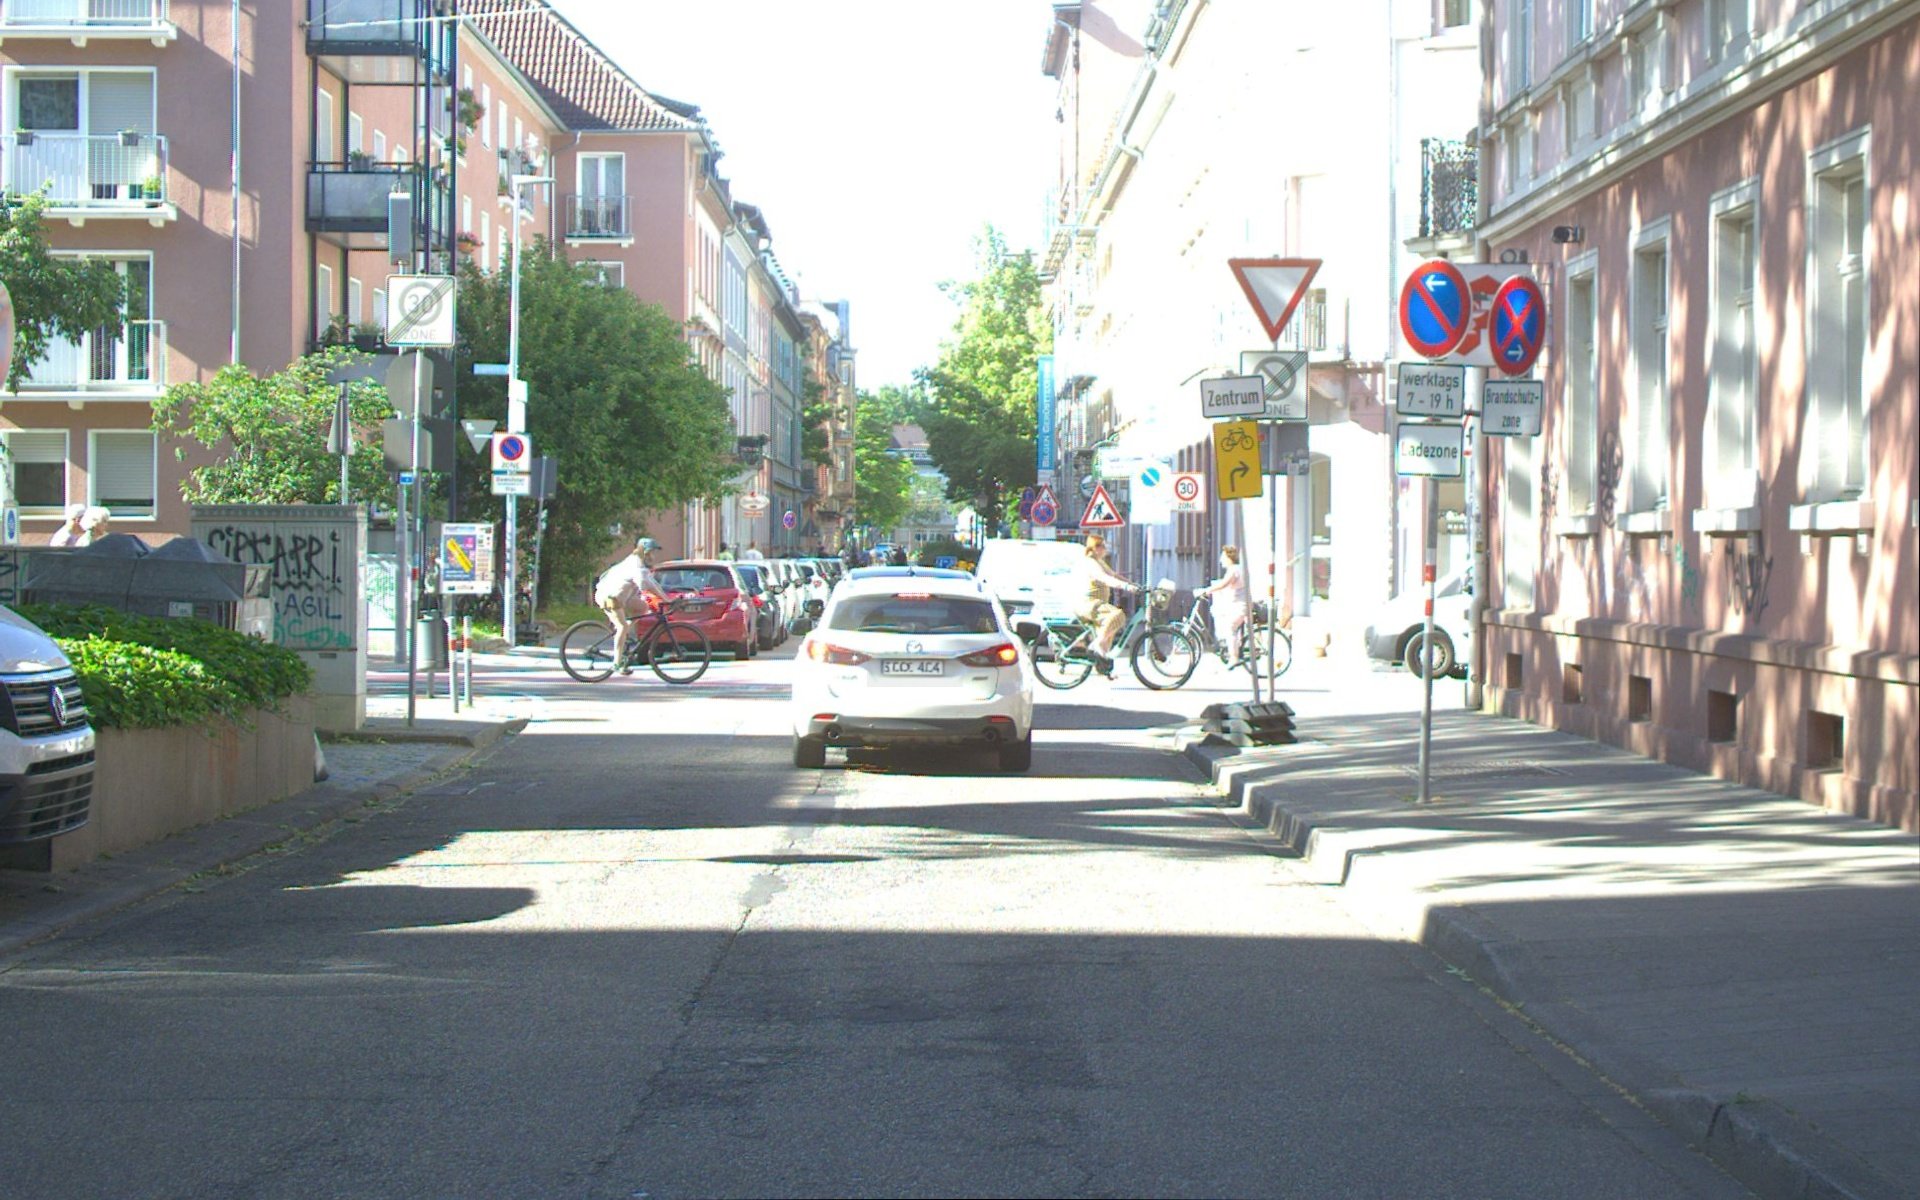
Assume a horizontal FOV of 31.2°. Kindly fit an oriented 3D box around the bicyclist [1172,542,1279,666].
[{"bbox_3d":[3.273,0.046,42.264,1.196,1.511,0.840,0,0,13],"label":"bicyclist"}]

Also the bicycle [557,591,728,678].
[{"bbox_3d":[-3.617,0.394,39.275,1.927,0.983,0.663,0,0,-3],"label":"bicycle"}]

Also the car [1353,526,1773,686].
[{"bbox_3d":[7.681,0.073,43.829,4.896,1.922,1.997,1,-1,25],"label":"car"}]

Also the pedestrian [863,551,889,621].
[{"bbox_3d":[-2.153,-0.363,88.507,0.647,1.791,0.639,0,0,1],"label":"pedestrian"}]

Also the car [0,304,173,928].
[{"bbox_3d":[-7.171,-0.122,15.230,6.739,2.546,2.145,3,0,2],"label":"car"}]

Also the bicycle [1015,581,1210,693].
[{"bbox_3d":[1.715,0.411,38.687,2.163,1.251,0.833,0,0,3],"label":"bicycle"}]

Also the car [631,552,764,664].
[{"bbox_3d":[-3.930,0.090,51.981,1.769,1.583,3.726,0,1,-1],"label":"car"}]

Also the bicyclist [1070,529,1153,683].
[{"bbox_3d":[1.705,0.067,38.732,0.924,1.714,0.942,0,0,2],"label":"bicyclist"}]

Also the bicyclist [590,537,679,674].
[{"bbox_3d":[-3.716,0.060,39.270,0.983,1.547,0.761,0,0,-4],"label":"bicyclist"}]

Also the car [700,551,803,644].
[{"bbox_3d":[-3.797,-0.054,63.094,1.635,1.650,3.785,0,0,0],"label":"car"}]

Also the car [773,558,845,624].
[{"bbox_3d":[-3.683,-0.212,84.201,1.572,1.580,3.611,0,0,0],"label":"car"}]

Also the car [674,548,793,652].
[{"bbox_3d":[-3.767,-0.011,57.579,1.720,1.677,3.726,0,0,0],"label":"car"}]

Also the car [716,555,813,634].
[{"bbox_3d":[-3.950,-0.106,69.880,1.720,1.571,3.726,0,0,0],"label":"car"}]

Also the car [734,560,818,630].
[{"bbox_3d":[-3.931,-0.113,73.893,1.602,1.472,3.567,0,0,0],"label":"car"}]

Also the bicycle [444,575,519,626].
[{"bbox_3d":[-8.820,0.014,63.287,0.603,0.929,1.915,0,0,-33],"label":"bicycle"}]

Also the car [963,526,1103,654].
[{"bbox_3d":[1.130,-0.184,55.177,1.942,1.941,4.079,1,1,-3],"label":"car"}]

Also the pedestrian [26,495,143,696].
[{"bbox_3d":[-8.251,-0.040,32.397,0.966,1.832,0.682,3,0,-15],"label":"pedestrian"}]

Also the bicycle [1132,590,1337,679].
[{"bbox_3d":[3.377,0.417,42.273,2.426,1.076,0.790,0,0,12],"label":"bicycle"}]

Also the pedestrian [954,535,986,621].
[{"bbox_3d":[0.247,-0.538,85.171,0.771,2.111,0.834,0,0,1],"label":"pedestrian"}]

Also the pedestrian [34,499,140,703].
[{"bbox_3d":[-7.977,0.010,31.452,0.853,1.809,0.815,3,0,-13],"label":"pedestrian"}]

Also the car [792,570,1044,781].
[{"bbox_3d":[-0.336,0.537,27.085,1.823,1.509,3.824,1,1,-1],"label":"car"}]
